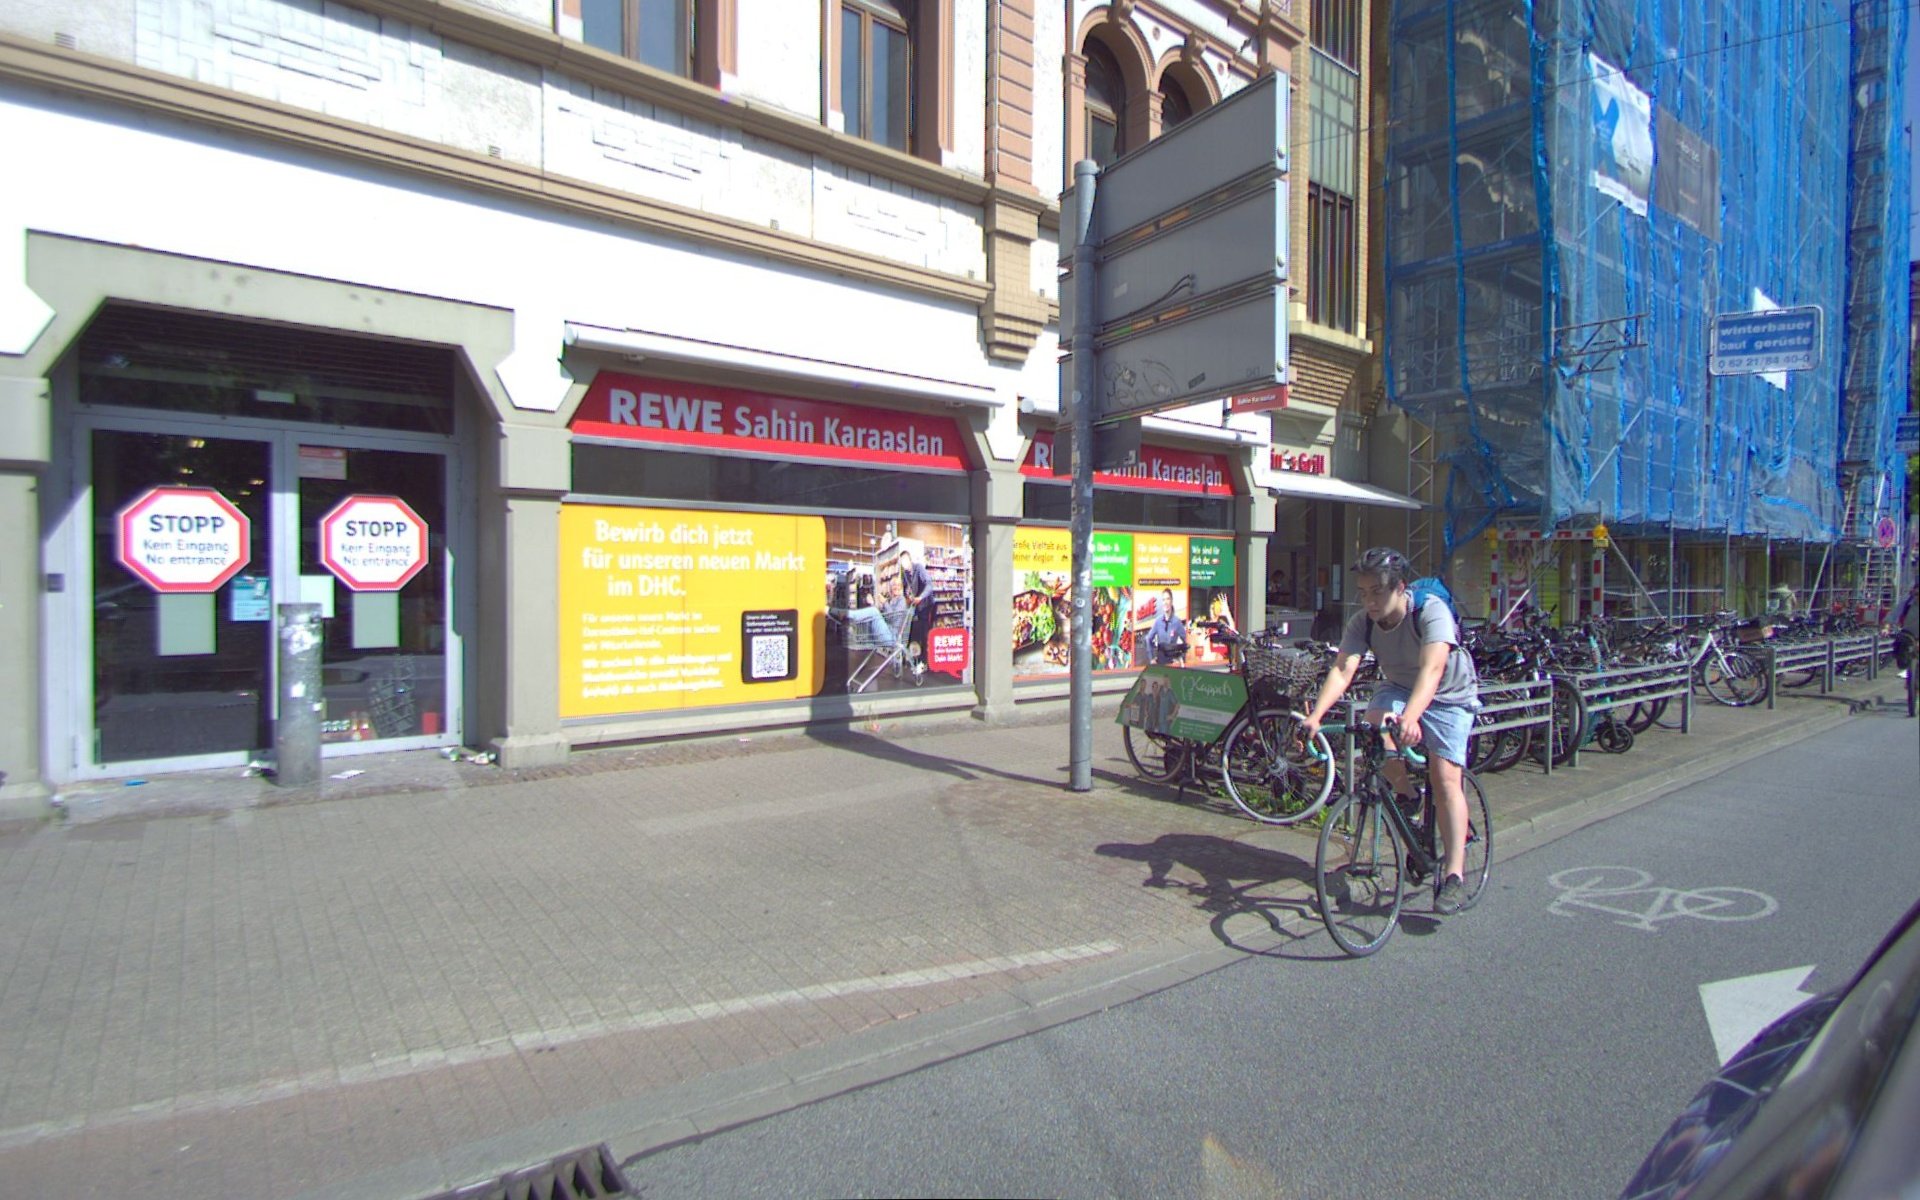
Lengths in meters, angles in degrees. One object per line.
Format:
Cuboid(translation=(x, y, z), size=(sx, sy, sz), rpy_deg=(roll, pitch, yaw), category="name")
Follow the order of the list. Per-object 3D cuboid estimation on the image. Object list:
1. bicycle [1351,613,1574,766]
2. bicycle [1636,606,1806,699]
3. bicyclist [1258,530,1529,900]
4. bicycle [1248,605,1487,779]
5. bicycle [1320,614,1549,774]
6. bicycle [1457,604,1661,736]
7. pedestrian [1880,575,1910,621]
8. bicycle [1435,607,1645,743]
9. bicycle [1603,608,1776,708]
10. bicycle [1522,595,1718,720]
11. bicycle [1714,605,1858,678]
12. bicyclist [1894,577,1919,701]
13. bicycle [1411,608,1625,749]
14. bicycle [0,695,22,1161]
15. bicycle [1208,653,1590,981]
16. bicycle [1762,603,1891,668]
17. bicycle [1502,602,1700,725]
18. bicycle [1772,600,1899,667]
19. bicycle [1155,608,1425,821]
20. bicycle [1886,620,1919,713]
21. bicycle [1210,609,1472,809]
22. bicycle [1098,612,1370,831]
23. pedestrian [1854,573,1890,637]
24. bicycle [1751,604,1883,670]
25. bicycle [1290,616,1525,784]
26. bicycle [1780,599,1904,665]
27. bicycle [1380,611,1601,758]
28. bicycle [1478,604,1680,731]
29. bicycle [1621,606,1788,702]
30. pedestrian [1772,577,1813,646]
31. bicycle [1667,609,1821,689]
Cuboid(translation=(4.317, 0.717, 8.809), size=(0.451, 1.193, 1.697), rpy_deg=(-1, 0, -38), category="bicycle")
Cuboid(translation=(10.526, 0.689, 14.053), size=(0.597, 1.193, 1.775), rpy_deg=(-1, 0, -38), category="bicycle")
Cuboid(translation=(2.020, 0.453, 4.689), size=(1.123, 1.481, 0.689), rpy_deg=(-1, -1, -41), category="bicyclist")
Cuboid(translation=(3.099, 0.646, 7.850), size=(0.461, 1.193, 1.697), rpy_deg=(-1, 0, -38), category="bicycle")
Cuboid(translation=(3.917, 0.725, 8.477), size=(0.451, 1.193, 1.697), rpy_deg=(-1, 0, -38), category="bicycle")
Cuboid(translation=(5.922, 0.650, 10.098), size=(0.443, 1.193, 1.697), rpy_deg=(-1, 0, -38), category="bicycle")
Cuboid(translation=(37.198, -0.084, 40.266), size=(0.966, 1.803, 0.670), rpy_deg=(-1, 1, -35), category="pedestrian")
Cuboid(translation=(5.550, 0.669, 9.772), size=(0.455, 1.193, 1.697), rpy_deg=(-1, 0, -38), category="bicycle")
Cuboid(translation=(9.372, 0.704, 13.063), size=(0.597, 1.193, 1.697), rpy_deg=(-1, 0, -38), category="bicycle")
Cuboid(translation=(7.232, 0.589, 11.166), size=(0.597, 1.256, 1.697), rpy_deg=(-1, 0, -38), category="bicycle")
Cuboid(translation=(13.651, 0.662, 16.764), size=(0.597, 1.123, 1.743), rpy_deg=(-1, 0, -38), category="bicycle")
Cuboid(translation=(12.775, 0.489, 13.186), size=(0.764, 1.597, 0.750), rpy_deg=(-1, -1, -40), category="bicyclist")
Cuboid(translation=(5.166, 0.683, 9.475), size=(0.449, 1.193, 1.697), rpy_deg=(-1, 0, -38), category="bicycle")
Cuboid(translation=(-3.041, 0.812, 1.796), size=(1.872, 1.107, 0.737), rpy_deg=(-2, -1, -28), category="bicycle")
Cuboid(translation=(2.136, 0.867, 4.766), size=(2.092, 1.107, 0.735), rpy_deg=(-2, -1, -39), category="bicycle")
Cuboid(translation=(15.799, 0.628, 18.487), size=(0.597, 1.111, 1.697), rpy_deg=(-1, 0, -38), category="bicycle")
Cuboid(translation=(6.756, 0.633, 10.754), size=(0.488, 1.193, 1.697), rpy_deg=(-1, 0, -38), category="bicycle")
Cuboid(translation=(16.407, 0.610, 18.999), size=(0.597, 1.193, 1.697), rpy_deg=(-1, 0, -38), category="bicycle")
Cuboid(translation=(2.212, 0.700, 6.989), size=(0.597, 1.193, 1.698), rpy_deg=(0, 3, -38), category="bicycle")
Cuboid(translation=(12.733, 0.840, 13.184), size=(1.865, 1.107, 0.735), rpy_deg=(-1, -1, -41), category="bicycle")
Cuboid(translation=(2.717, 0.714, 7.386), size=(0.597, 1.193, 1.698), rpy_deg=(0, 2, -38), category="bicycle")
Cuboid(translation=(1.722, 0.700, 6.609), size=(0.597, 1.193, 1.698), rpy_deg=(0, 1, -38), category="bicycle")
Cuboid(translation=(26.266, 0.146, 29.145), size=(0.637, 1.799, 0.640), rpy_deg=(-1, -1, -39), category="pedestrian")
Cuboid(translation=(15.272, 0.633, 18.072), size=(0.597, 1.111, 1.697), rpy_deg=(-1, 0, -38), category="bicycle")
Cuboid(translation=(3.539, 0.737, 8.139), size=(0.461, 1.193, 1.697), rpy_deg=(-1, 0, -38), category="bicycle")
Cuboid(translation=(16.914, 0.594, 19.441), size=(0.597, 1.193, 1.697), rpy_deg=(-1, 0, -38), category="bicycle")
Cuboid(translation=(4.740, 0.700, 9.156), size=(0.504, 1.193, 1.697), rpy_deg=(-1, 0, -38), category="bicycle")
Cuboid(translation=(6.323, 0.644, 10.425), size=(0.482, 1.193, 1.697), rpy_deg=(-1, 0, -38), category="bicycle")
Cuboid(translation=(9.921, 0.685, 13.540), size=(0.597, 1.193, 1.697), rpy_deg=(-1, 0, -38), category="bicycle")
Cuboid(translation=(20.062, 0.266, 24.384), size=(0.643, 1.622, 0.753), rpy_deg=(-2, -1, 45), category="pedestrian")
Cuboid(translation=(11.592, 0.691, 15.003), size=(0.597, 1.101, 1.697), rpy_deg=(-1, 0, -38), category="bicycle")
